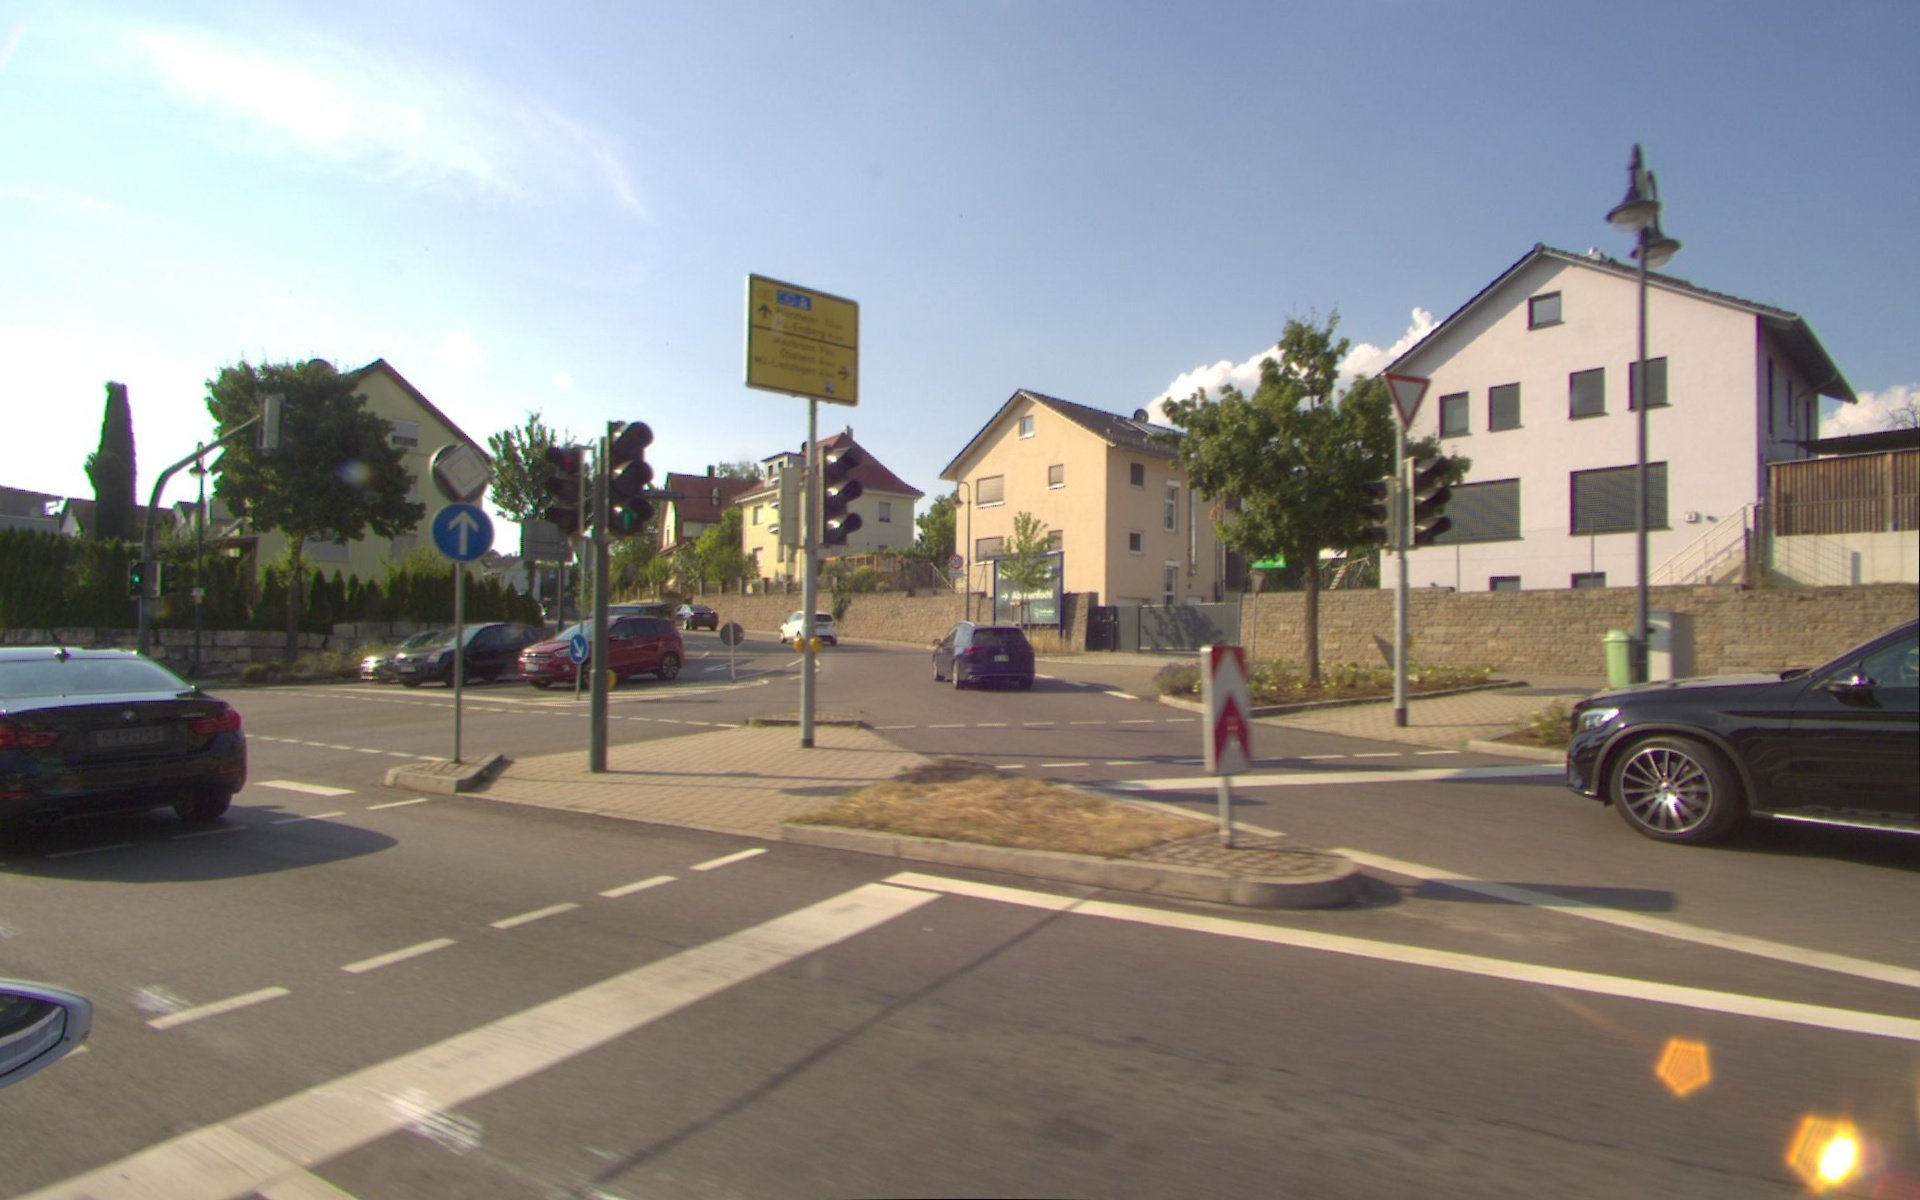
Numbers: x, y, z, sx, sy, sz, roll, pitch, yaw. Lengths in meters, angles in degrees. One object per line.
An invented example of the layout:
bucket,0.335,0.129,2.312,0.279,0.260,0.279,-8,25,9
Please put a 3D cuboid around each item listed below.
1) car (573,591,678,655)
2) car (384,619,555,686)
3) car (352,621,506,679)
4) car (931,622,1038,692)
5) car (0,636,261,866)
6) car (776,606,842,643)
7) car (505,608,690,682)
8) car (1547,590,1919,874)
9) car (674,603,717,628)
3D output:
car,-11.104,0.787,33.661,1.961,1.956,5.181,0,-2,-2
car,-12.381,1.276,25.527,1.573,1.562,3.787,0,-1,25
car,-15.024,1.384,28.511,1.601,1.468,3.595,-2,-1,28
car,0.461,1.234,22.901,1.604,1.428,4.276,0,-1,-10
car,-7.490,1.006,7.913,4.200,1.386,1.697,0,-1,32
car,-6.634,1.090,43.650,1.838,1.513,3.986,1,-2,-25
car,-8.827,1.085,24.772,1.832,1.646,4.240,0,-2,26
car,6.266,0.747,5.950,1.824,1.587,4.460,1,-2,-38
car,-15.209,0.913,57.487,1.789,1.361,3.987,1,-2,-24
